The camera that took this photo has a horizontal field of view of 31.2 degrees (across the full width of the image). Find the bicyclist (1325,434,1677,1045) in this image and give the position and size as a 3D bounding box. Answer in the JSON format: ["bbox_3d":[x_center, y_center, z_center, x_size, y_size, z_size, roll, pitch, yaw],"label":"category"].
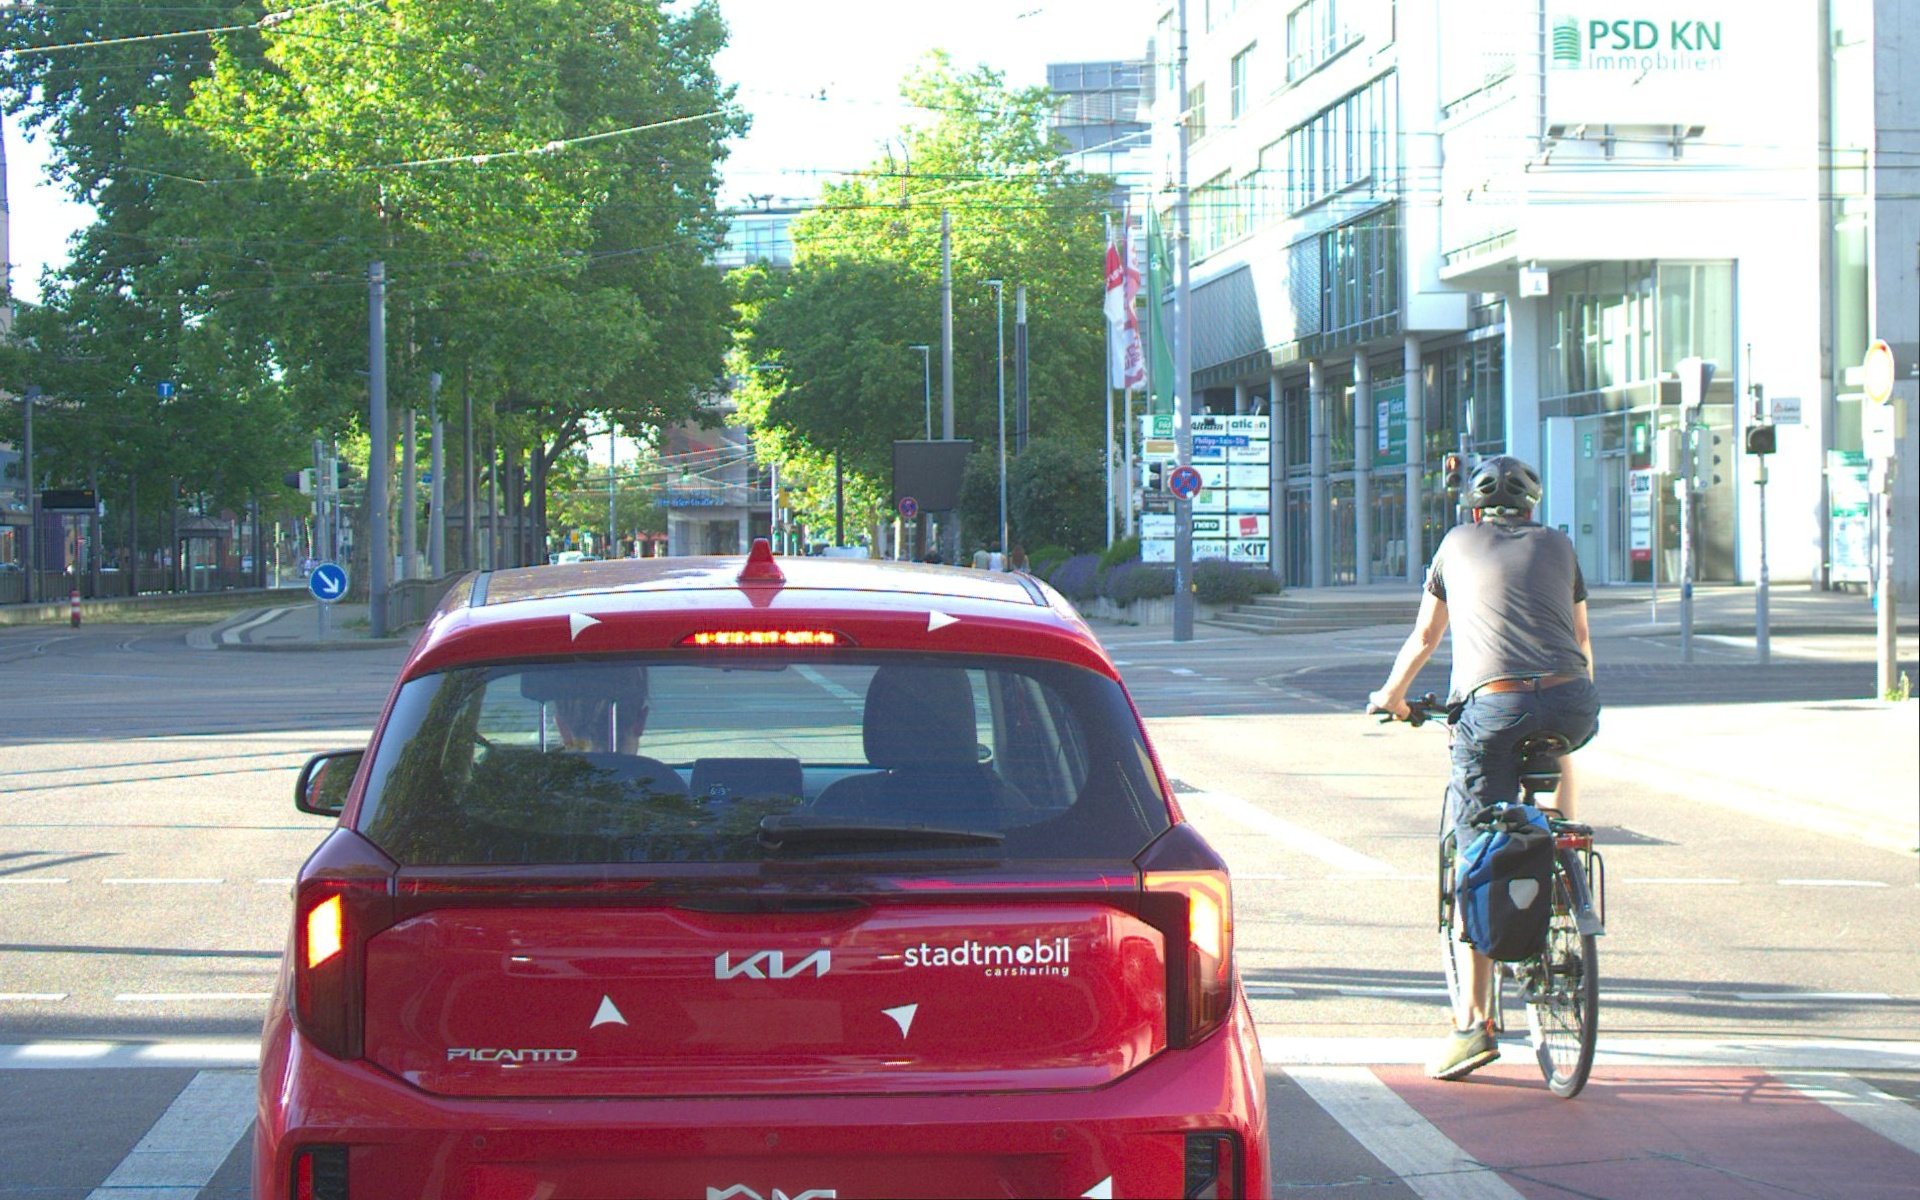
[{"bbox_3d":[1.523,0.376,9.786,0.743,1.663,0.745,1,1,-11],"label":"bicyclist"}]

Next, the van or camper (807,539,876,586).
[{"bbox_3d":[-4.590,-1.458,132.108,2.145,1.744,4.433,-1,1,-8],"label":"van or camper"}]

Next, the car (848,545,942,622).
[{"bbox_3d":[-1.411,-0.380,73.083,1.843,1.562,4.274,-1,1,-3],"label":"car"}]

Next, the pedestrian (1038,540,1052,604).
[{"bbox_3d":[2.082,-0.681,84.111,0.294,1.556,0.314,-1,1,0],"label":"pedestrian"}]

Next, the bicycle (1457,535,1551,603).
[{"bbox_3d":[11.861,-0.677,74.988,1.934,1.438,0.575,-1,1,-6],"label":"bicycle"}]

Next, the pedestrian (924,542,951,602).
[{"bbox_3d":[-0.652,-0.815,98.872,0.742,1.710,0.748,-1,1,-2],"label":"pedestrian"}]

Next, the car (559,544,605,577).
[{"bbox_3d":[-19.291,-2.019,175.236,2.057,1.648,3.493,-1,1,-10],"label":"car"}]

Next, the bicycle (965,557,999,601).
[{"bbox_3d":[0.584,-0.588,94.128,0.792,1.157,2.500,-1,1,-3],"label":"bicycle"}]

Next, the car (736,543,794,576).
[{"bbox_3d":[-9.498,-1.968,167.347,2.478,1.523,4.433,-1,1,-7],"label":"car"}]

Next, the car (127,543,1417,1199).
[{"bbox_3d":[-0.418,0.643,6.789,1.839,1.484,3.717,-1,1,-5],"label":"car"}]

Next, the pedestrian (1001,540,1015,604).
[{"bbox_3d":[1.195,-0.692,85.007,0.294,1.556,0.356,-1,1,-3],"label":"pedestrian"}]

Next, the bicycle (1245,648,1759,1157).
[{"bbox_3d":[1.493,0.796,9.941,0.743,1.220,2.157,1,1,-11],"label":"bicycle"}]

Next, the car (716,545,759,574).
[{"bbox_3d":[-11.912,-2.177,183.876,1.884,1.523,4.433,-1,1,-8],"label":"car"}]

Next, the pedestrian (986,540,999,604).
[{"bbox_3d":[0.801,-0.693,84.946,0.294,1.556,0.302,-1,1,-3],"label":"pedestrian"}]
